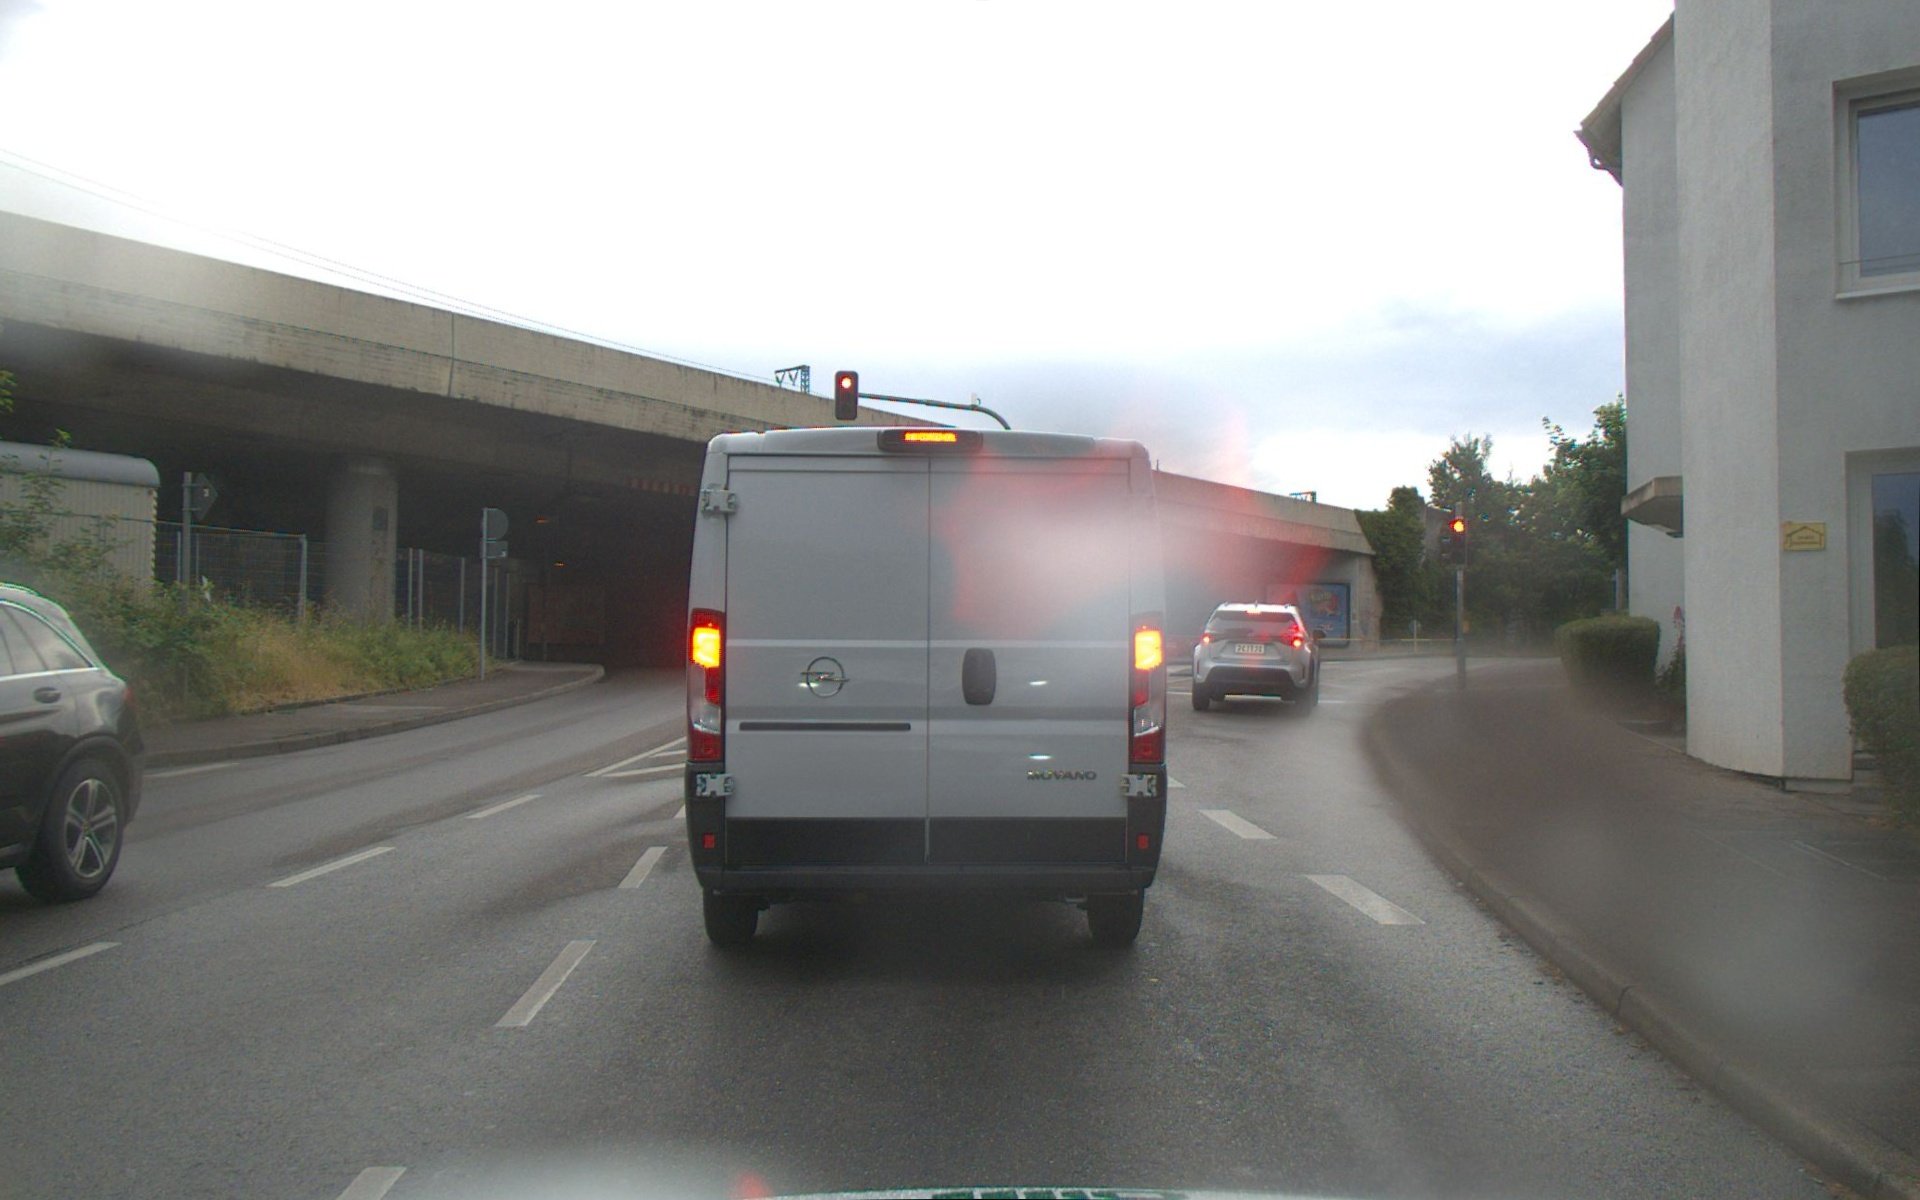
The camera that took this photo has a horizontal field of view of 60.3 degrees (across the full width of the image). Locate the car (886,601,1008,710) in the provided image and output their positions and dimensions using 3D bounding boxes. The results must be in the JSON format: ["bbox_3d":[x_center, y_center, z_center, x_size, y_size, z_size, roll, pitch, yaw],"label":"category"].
[{"bbox_3d":[-0.154,0.951,28.814,1.952,1.759,4.000,0,-2,2],"label":"car"}]

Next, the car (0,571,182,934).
[{"bbox_3d":[-5.317,0.687,7.048,1.875,1.655,4.434,0,0,0],"label":"car"}]

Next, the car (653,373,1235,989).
[{"bbox_3d":[-0.114,0.327,9.097,2.258,2.384,5.280,0,0,-1],"label":"car"}]

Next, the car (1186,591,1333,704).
[{"bbox_3d":[4.659,0.710,25.284,1.951,1.576,4.003,0,-1,14],"label":"car"}]
